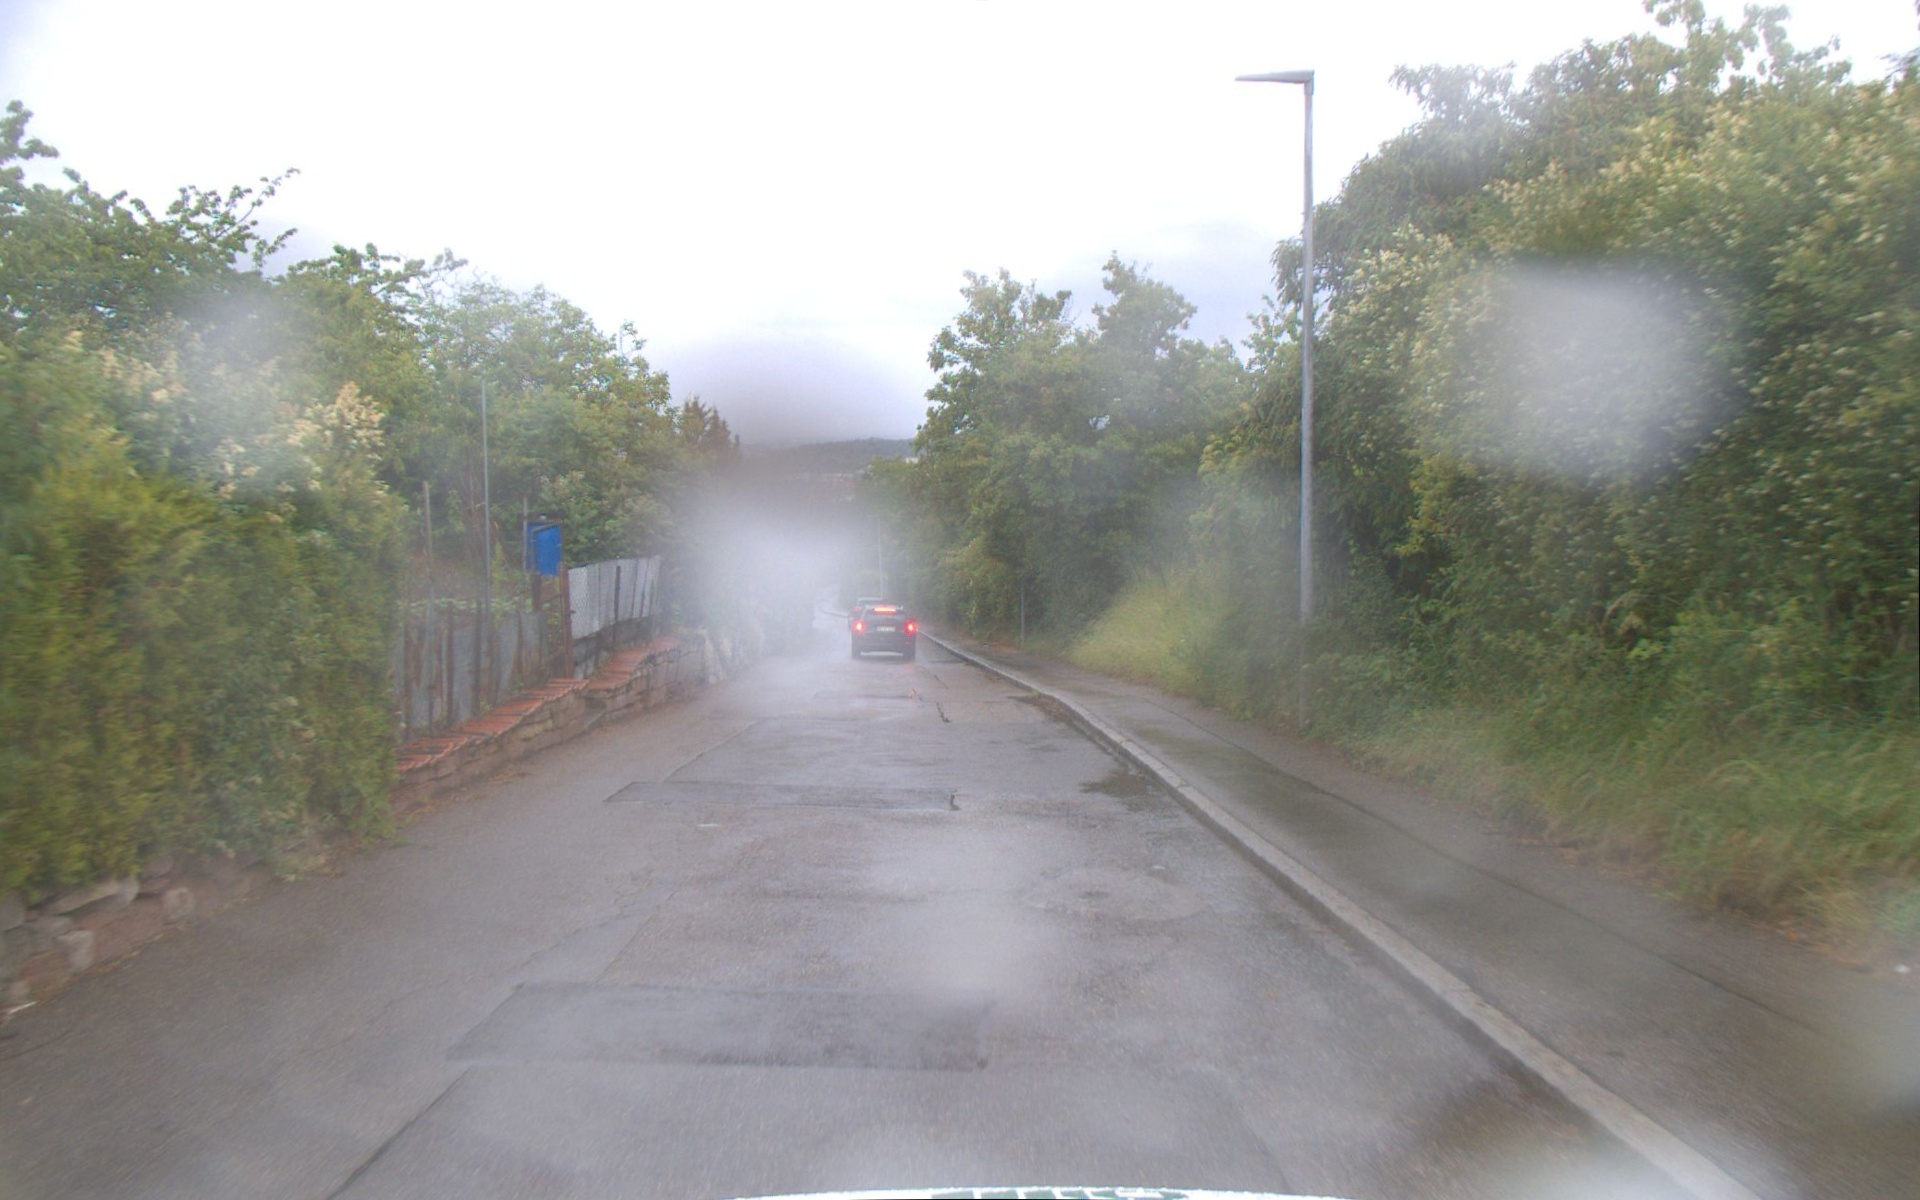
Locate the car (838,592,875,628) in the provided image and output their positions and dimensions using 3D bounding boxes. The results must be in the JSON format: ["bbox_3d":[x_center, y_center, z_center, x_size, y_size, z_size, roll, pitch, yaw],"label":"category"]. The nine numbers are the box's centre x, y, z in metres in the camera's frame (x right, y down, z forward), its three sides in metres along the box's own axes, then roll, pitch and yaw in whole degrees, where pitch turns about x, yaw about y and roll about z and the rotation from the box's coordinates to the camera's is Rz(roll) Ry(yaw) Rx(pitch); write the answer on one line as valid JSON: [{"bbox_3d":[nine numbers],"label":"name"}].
[{"bbox_3d":[-4.935,0.468,79.315,1.644,1.592,3.794,0,2,-1],"label":"car"}]

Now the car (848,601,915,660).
[{"bbox_3d":[-2.211,0.825,46.372,1.798,1.489,3.998,1,1,-3],"label":"car"}]
